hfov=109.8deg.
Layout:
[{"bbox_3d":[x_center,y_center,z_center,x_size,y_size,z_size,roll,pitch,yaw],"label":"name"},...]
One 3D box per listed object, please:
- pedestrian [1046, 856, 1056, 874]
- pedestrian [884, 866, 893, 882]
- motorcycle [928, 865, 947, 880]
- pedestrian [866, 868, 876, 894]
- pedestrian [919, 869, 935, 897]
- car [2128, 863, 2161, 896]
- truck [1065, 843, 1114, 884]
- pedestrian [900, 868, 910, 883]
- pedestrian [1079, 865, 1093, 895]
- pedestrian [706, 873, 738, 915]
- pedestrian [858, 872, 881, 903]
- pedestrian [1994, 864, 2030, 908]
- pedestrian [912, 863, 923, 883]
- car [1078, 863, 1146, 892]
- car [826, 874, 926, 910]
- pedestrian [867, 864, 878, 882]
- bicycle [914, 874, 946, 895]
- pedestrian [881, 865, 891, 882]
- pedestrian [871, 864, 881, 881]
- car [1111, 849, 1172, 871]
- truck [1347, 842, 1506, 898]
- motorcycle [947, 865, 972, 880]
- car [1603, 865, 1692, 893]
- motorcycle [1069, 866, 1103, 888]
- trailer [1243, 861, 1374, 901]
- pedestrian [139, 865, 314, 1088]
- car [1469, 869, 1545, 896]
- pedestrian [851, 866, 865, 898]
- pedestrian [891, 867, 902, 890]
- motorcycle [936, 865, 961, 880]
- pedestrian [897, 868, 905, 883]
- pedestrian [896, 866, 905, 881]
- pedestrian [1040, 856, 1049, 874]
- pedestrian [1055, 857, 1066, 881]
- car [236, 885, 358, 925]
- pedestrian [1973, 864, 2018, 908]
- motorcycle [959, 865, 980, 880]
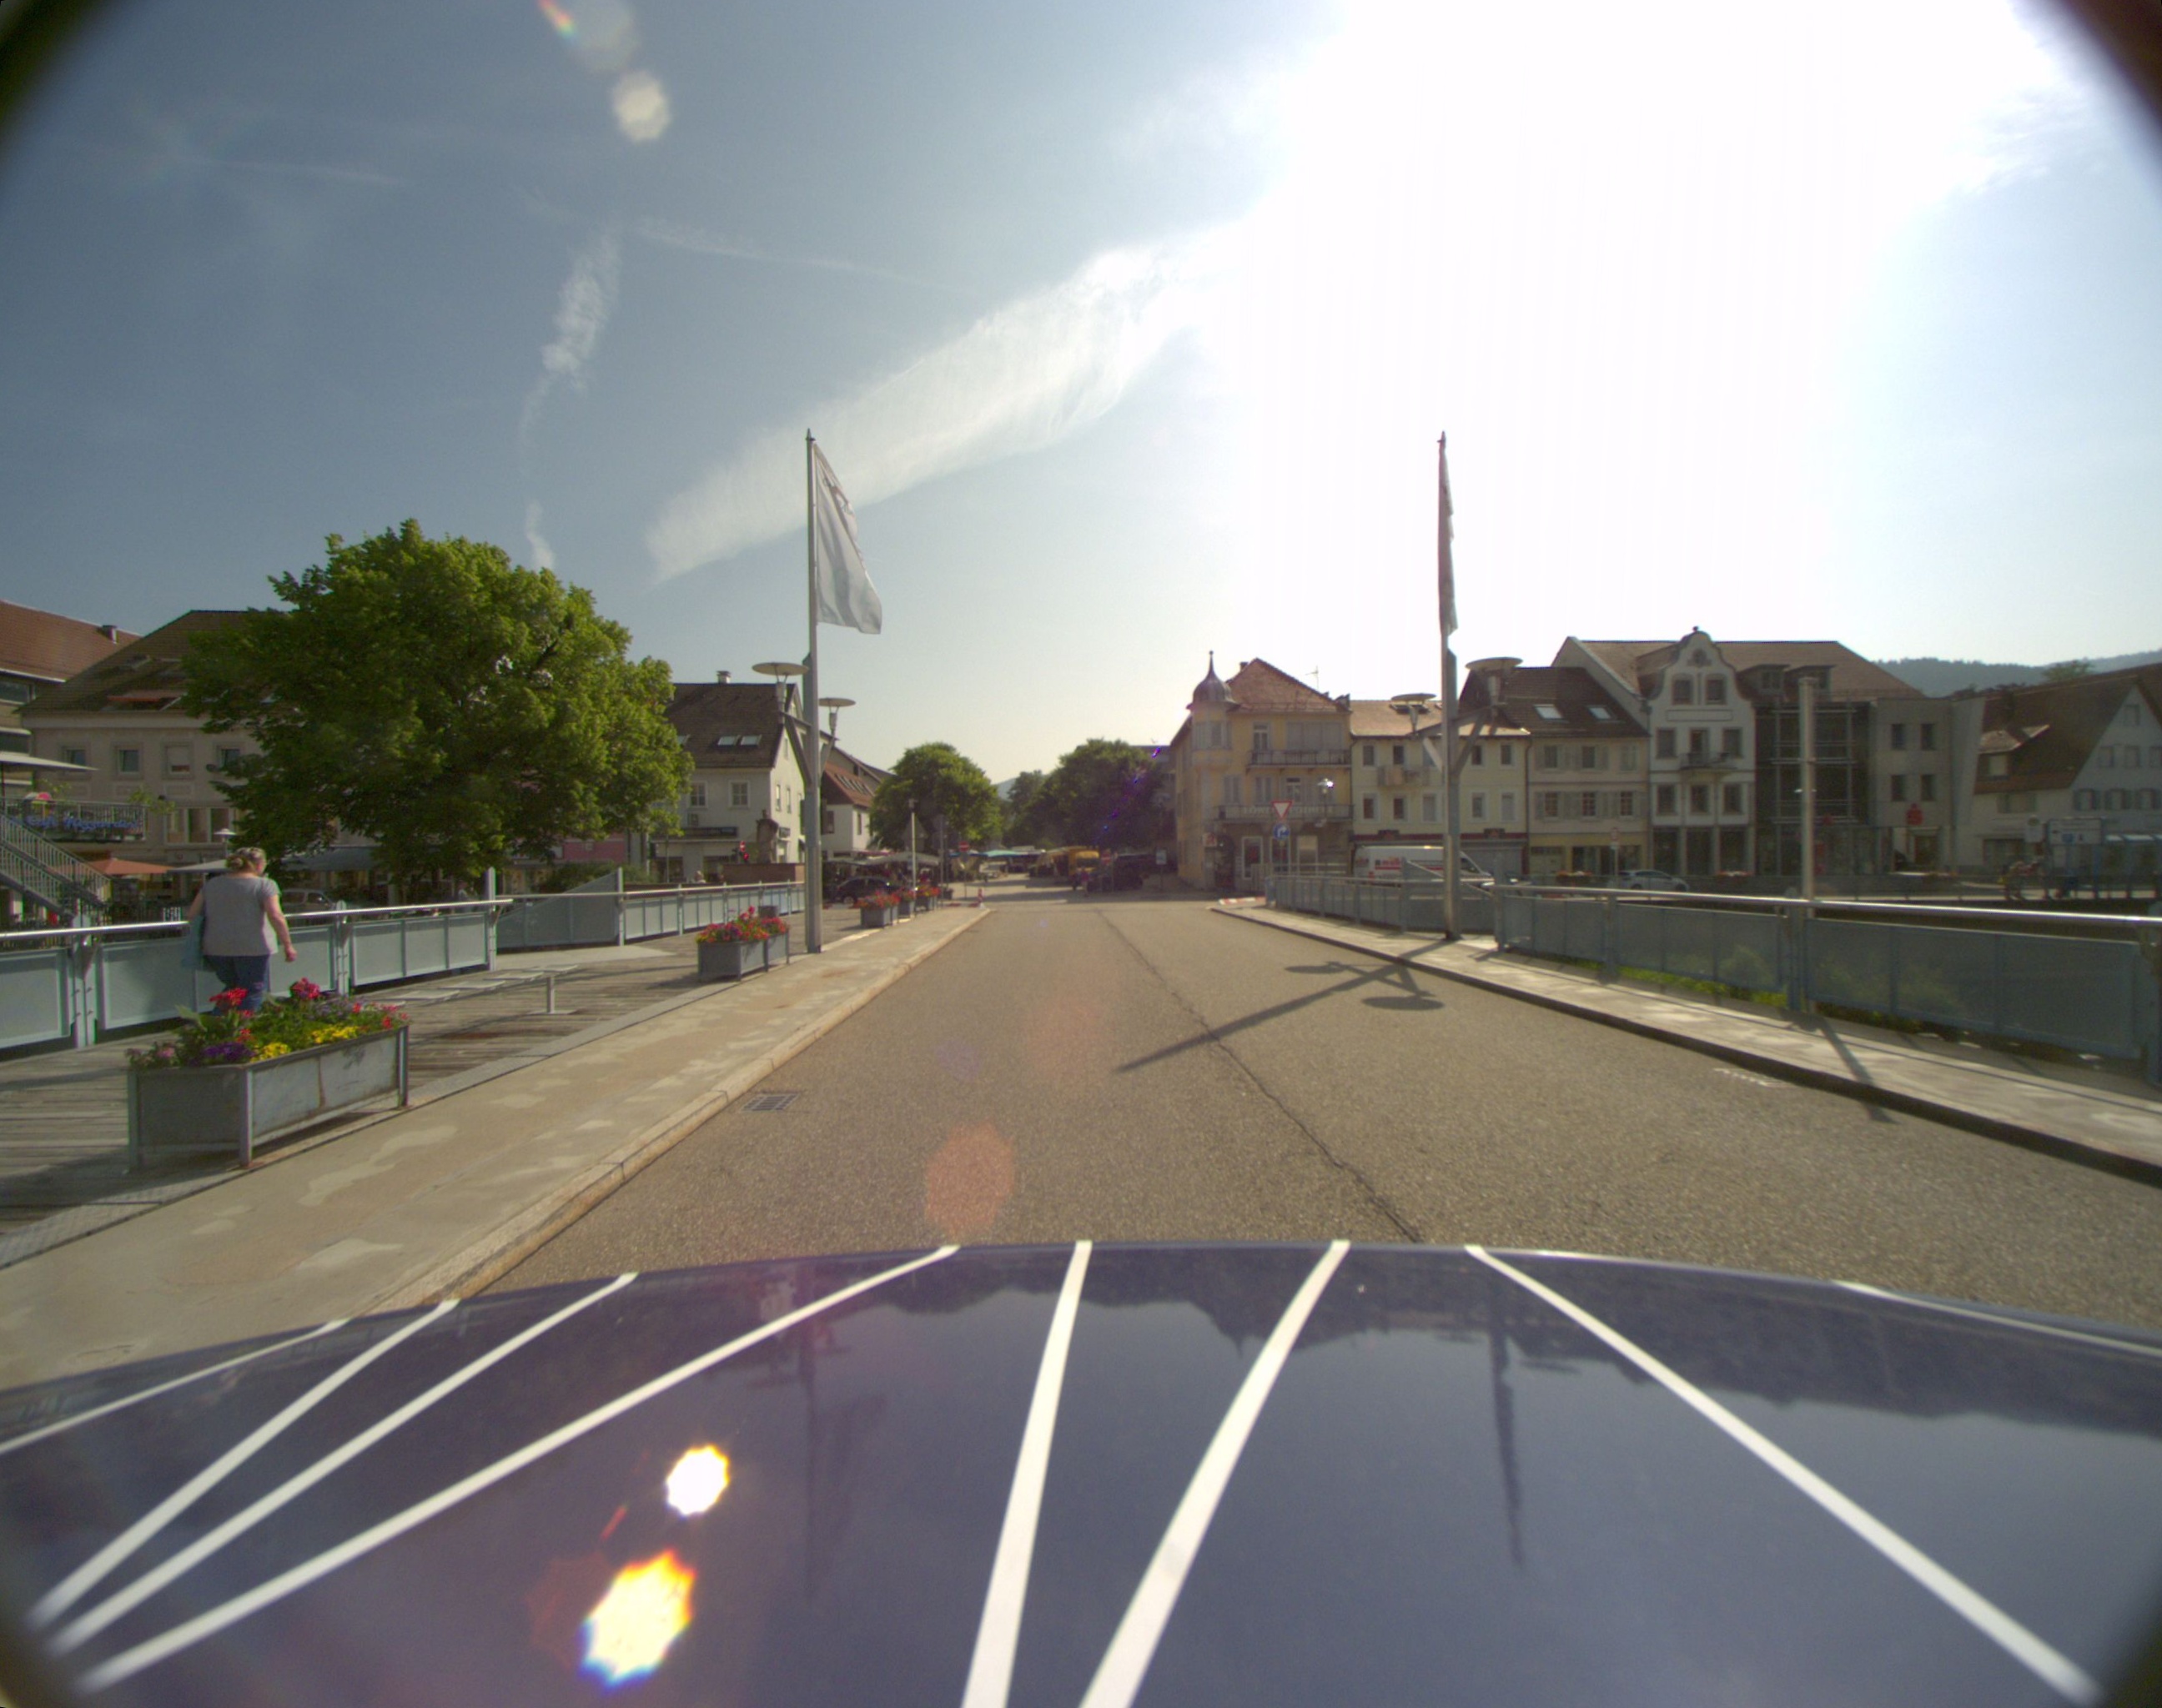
[{"bbox_3d":[-2.734,1.018,70.031,0.682,1.672,0.582,-3,2,-20],"label":"pedestrian"},{"bbox_3d":[-15.302,1.581,60.292,0.572,1.194,0.650,1,1,-2],"label":"pedestrian"},{"bbox_3d":[-12.276,1.571,65.061,1.532,1.189,0.643,2,0,-4],"label":"motorcycle"},{"bbox_3d":[-13.719,1.758,49.624,0.522,1.617,0.707,-1,0,-8],"label":"pedestrian"},{"bbox_3d":[-9.291,1.737,45.860,0.884,1.649,0.571,1,1,-13],"label":"pedestrian"},{"bbox_3d":[55.835,1.240,38.330,3.969,1.551,1.683,-2,0,-5],"label":"car"},{"bbox_3d":[0.515,0.602,58.170,3.009,2.742,8.856,-2,1,-4],"label":"truck"},{"bbox_3d":[-13.718,1.682,59.207,0.700,1.194,0.571,1,1,-17],"label":"pedestrian"},{"bbox_3d":[0.286,1.508,43.725,0.680,1.705,0.617,-2,1,-5],"label":"pedestrian"},{"bbox_3d":[-15.666,1.739,33.155,1.018,1.803,0.910,-3,-3,39],"label":"pedestrian"},{"bbox_3d":[-11.782,1.844,42.406,0.786,1.623,0.860,0,3,31],"label":"pedestrian"},{"bbox_3d":[37.313,1.269,30.455,0.491,1.696,0.792,-1,1,-2],"label":"pedestrian"},{"bbox_3d":[-12.961,1.475,60.074,0.699,1.544,0.572,1,1,3],"label":"pedestrian"},{"bbox_3d":[1.964,1.420,47.662,3.966,1.534,1.918,-3,2,-42],"label":"car"},{"bbox_3d":[-10.167,1.874,37.977,4.498,1.557,1.823,-2,2,-6],"label":"car"},{"bbox_3d":[-16.493,1.501,60.183,0.626,1.323,0.699,1,1,0],"label":"pedestrian"},{"bbox_3d":[-9.380,1.883,47.071,1.864,1.228,0.616,-1,0,-16],"label":"bicycle"},{"bbox_3d":[-15.759,1.546,61.491,0.626,1.323,0.699,1,1,0],"label":"pedestrian"},{"bbox_3d":[-16.504,1.469,61.107,0.626,1.323,0.699,1,1,0],"label":"pedestrian"},{"bbox_3d":[5.312,0.542,66.858,5.072,1.880,1.999,-1,0,-8],"label":"car"},{"bbox_3d":[17.340,0.809,38.304,7.131,2.682,2.111,0,-2,-6],"label":"truck"},{"bbox_3d":[-10.398,1.606,64.890,2.002,1.189,0.644,2,0,10],"label":"motorcycle"},{"bbox_3d":[31.790,1.390,42.701,3.793,1.439,1.752,-1,0,-5],"label":"car"},{"bbox_3d":[0.341,1.515,50.173,2.087,1.353,0.888,-3,1,-5],"label":"motorcycle"},{"bbox_3d":[11.109,1.265,37.161,5.642,1.816,2.615,0,-1,-19],"label":"trailer"},{"bbox_3d":[-6.606,0.900,5.911,0.668,1.609,0.562,-2,0,-16],"label":"pedestrian"},{"bbox_3d":[23.667,1.569,42.247,3.275,1.439,1.752,-1,0,-5],"label":"car"},{"bbox_3d":[-13.610,1.700,46.395,0.708,1.973,0.651,-1,0,-24],"label":"pedestrian"},{"bbox_3d":[-12.512,1.662,51.417,0.623,1.509,0.632,-1,0,-22],"label":"pedestrian"},{"bbox_3d":[-11.199,1.554,64.165,2.002,1.189,0.644,2,1,10],"label":"motorcycle"},{"bbox_3d":[-14.226,1.686,60.021,0.572,1.194,0.650,1,1,-14],"label":"pedestrian"},{"bbox_3d":[-14.866,1.582,62.456,0.572,1.194,0.650,1,1,-2],"label":"pedestrian"},{"bbox_3d":[-3.403,1.005,70.612,0.682,1.672,0.582,-3,0,-18],"label":"pedestrian"},{"bbox_3d":[-1.598,1.176,59.053,0.681,1.776,0.726,-3,2,-5],"label":"pedestrian"},{"bbox_3d":[-39.973,2.583,38.834,4.145,1.729,1.710,-2,2,-6],"label":"car"},{"bbox_3d":[36.603,1.267,30.416,0.777,1.696,0.869,-1,1,-2],"label":"pedestrian"},{"bbox_3d":[-9.657,1.591,65.793,1.999,1.188,0.645,2,0,38],"label":"motorcycle"}]
